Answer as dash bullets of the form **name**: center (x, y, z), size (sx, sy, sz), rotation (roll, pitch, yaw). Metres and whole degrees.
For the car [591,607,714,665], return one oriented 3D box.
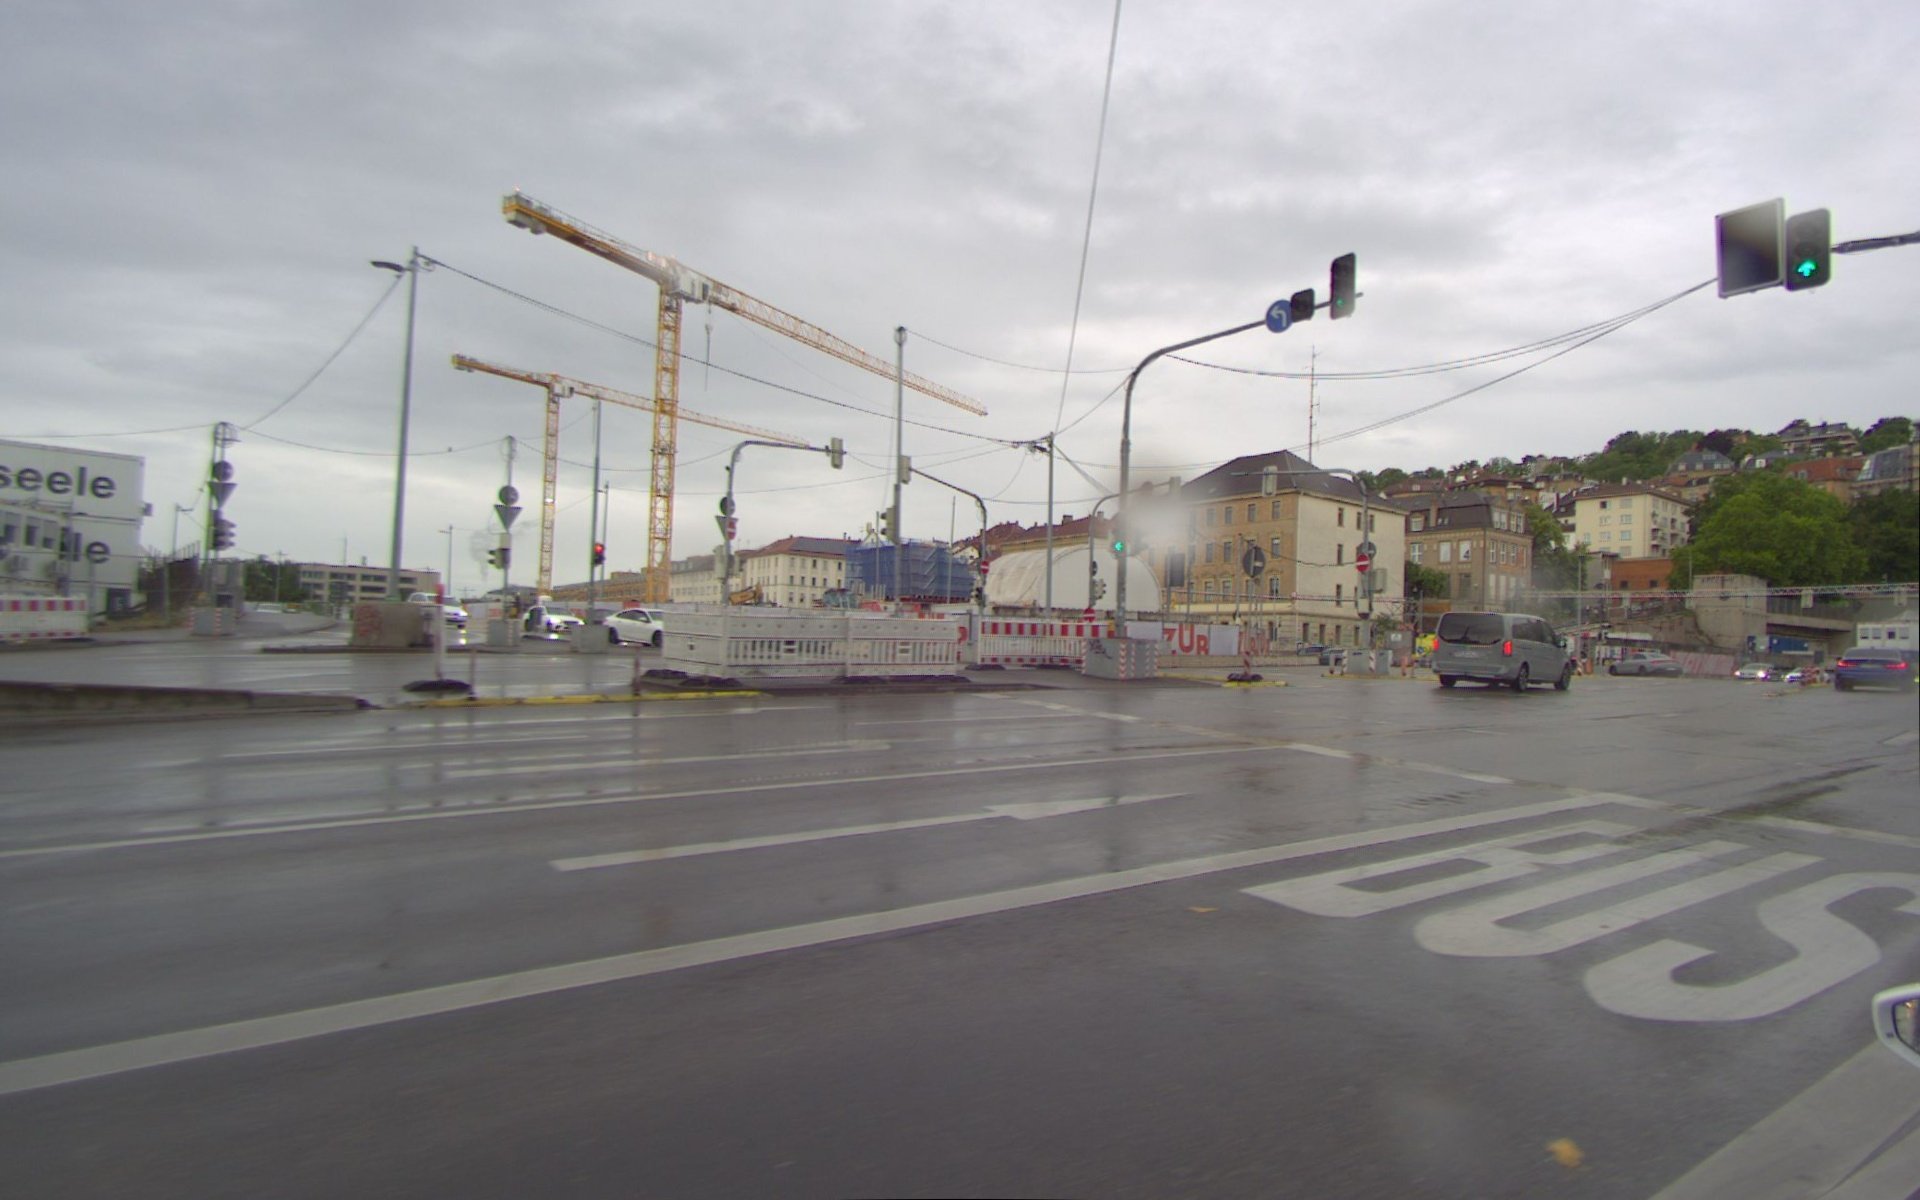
- **car**: center (-11.432, 1.320, 37.257), size (4.346, 2.040, 1.995), rotation (-1, -2, 32)

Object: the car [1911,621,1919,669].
- **car**: center (42.297, 1.927, 42.876), size (3.966, 2.040, 1.978), rotation (2, -2, -39)

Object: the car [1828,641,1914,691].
- **car**: center (29.666, 2.115, 32.787), size (1.971, 1.457, 3.980), rotation (0, -2, 41)

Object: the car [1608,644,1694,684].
- **car**: center (39.185, 3.600, 57.092), size (1.960, 2.040, 4.295), rotation (1, -1, 1)

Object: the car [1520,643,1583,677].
- **car**: center (33.764, 3.391, 57.449), size (1.745, 1.773, 4.003), rotation (1, -1, 8)

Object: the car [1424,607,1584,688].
- **car**: center (13.714, 1.168, 25.215), size (4.645, 1.863, 1.977), rotation (2, -2, -40)

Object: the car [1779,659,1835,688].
- **car**: center (63.591, 5.482, 75.396), size (3.953, 2.040, 1.984), rotation (1, -1, -30)

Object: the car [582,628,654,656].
- **car**: center (-17.121, 2.059, 50.250), size (4.229, 1.194, 1.641), rotation (1, 0, 44)

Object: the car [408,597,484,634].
- **car**: center (-25.899, 0.792, 50.522), size (4.294, 1.795, 1.990), rotation (-1, -2, 42)

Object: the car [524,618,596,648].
- **car**: center (-21.957, 1.813, 55.007), size (4.462, 1.578, 1.988), rotation (-1, -2, 44)

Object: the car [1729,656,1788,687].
- **car**: center (56.870, 5.059, 71.510), size (3.953, 2.040, 1.984), rotation (1, -1, -30)
